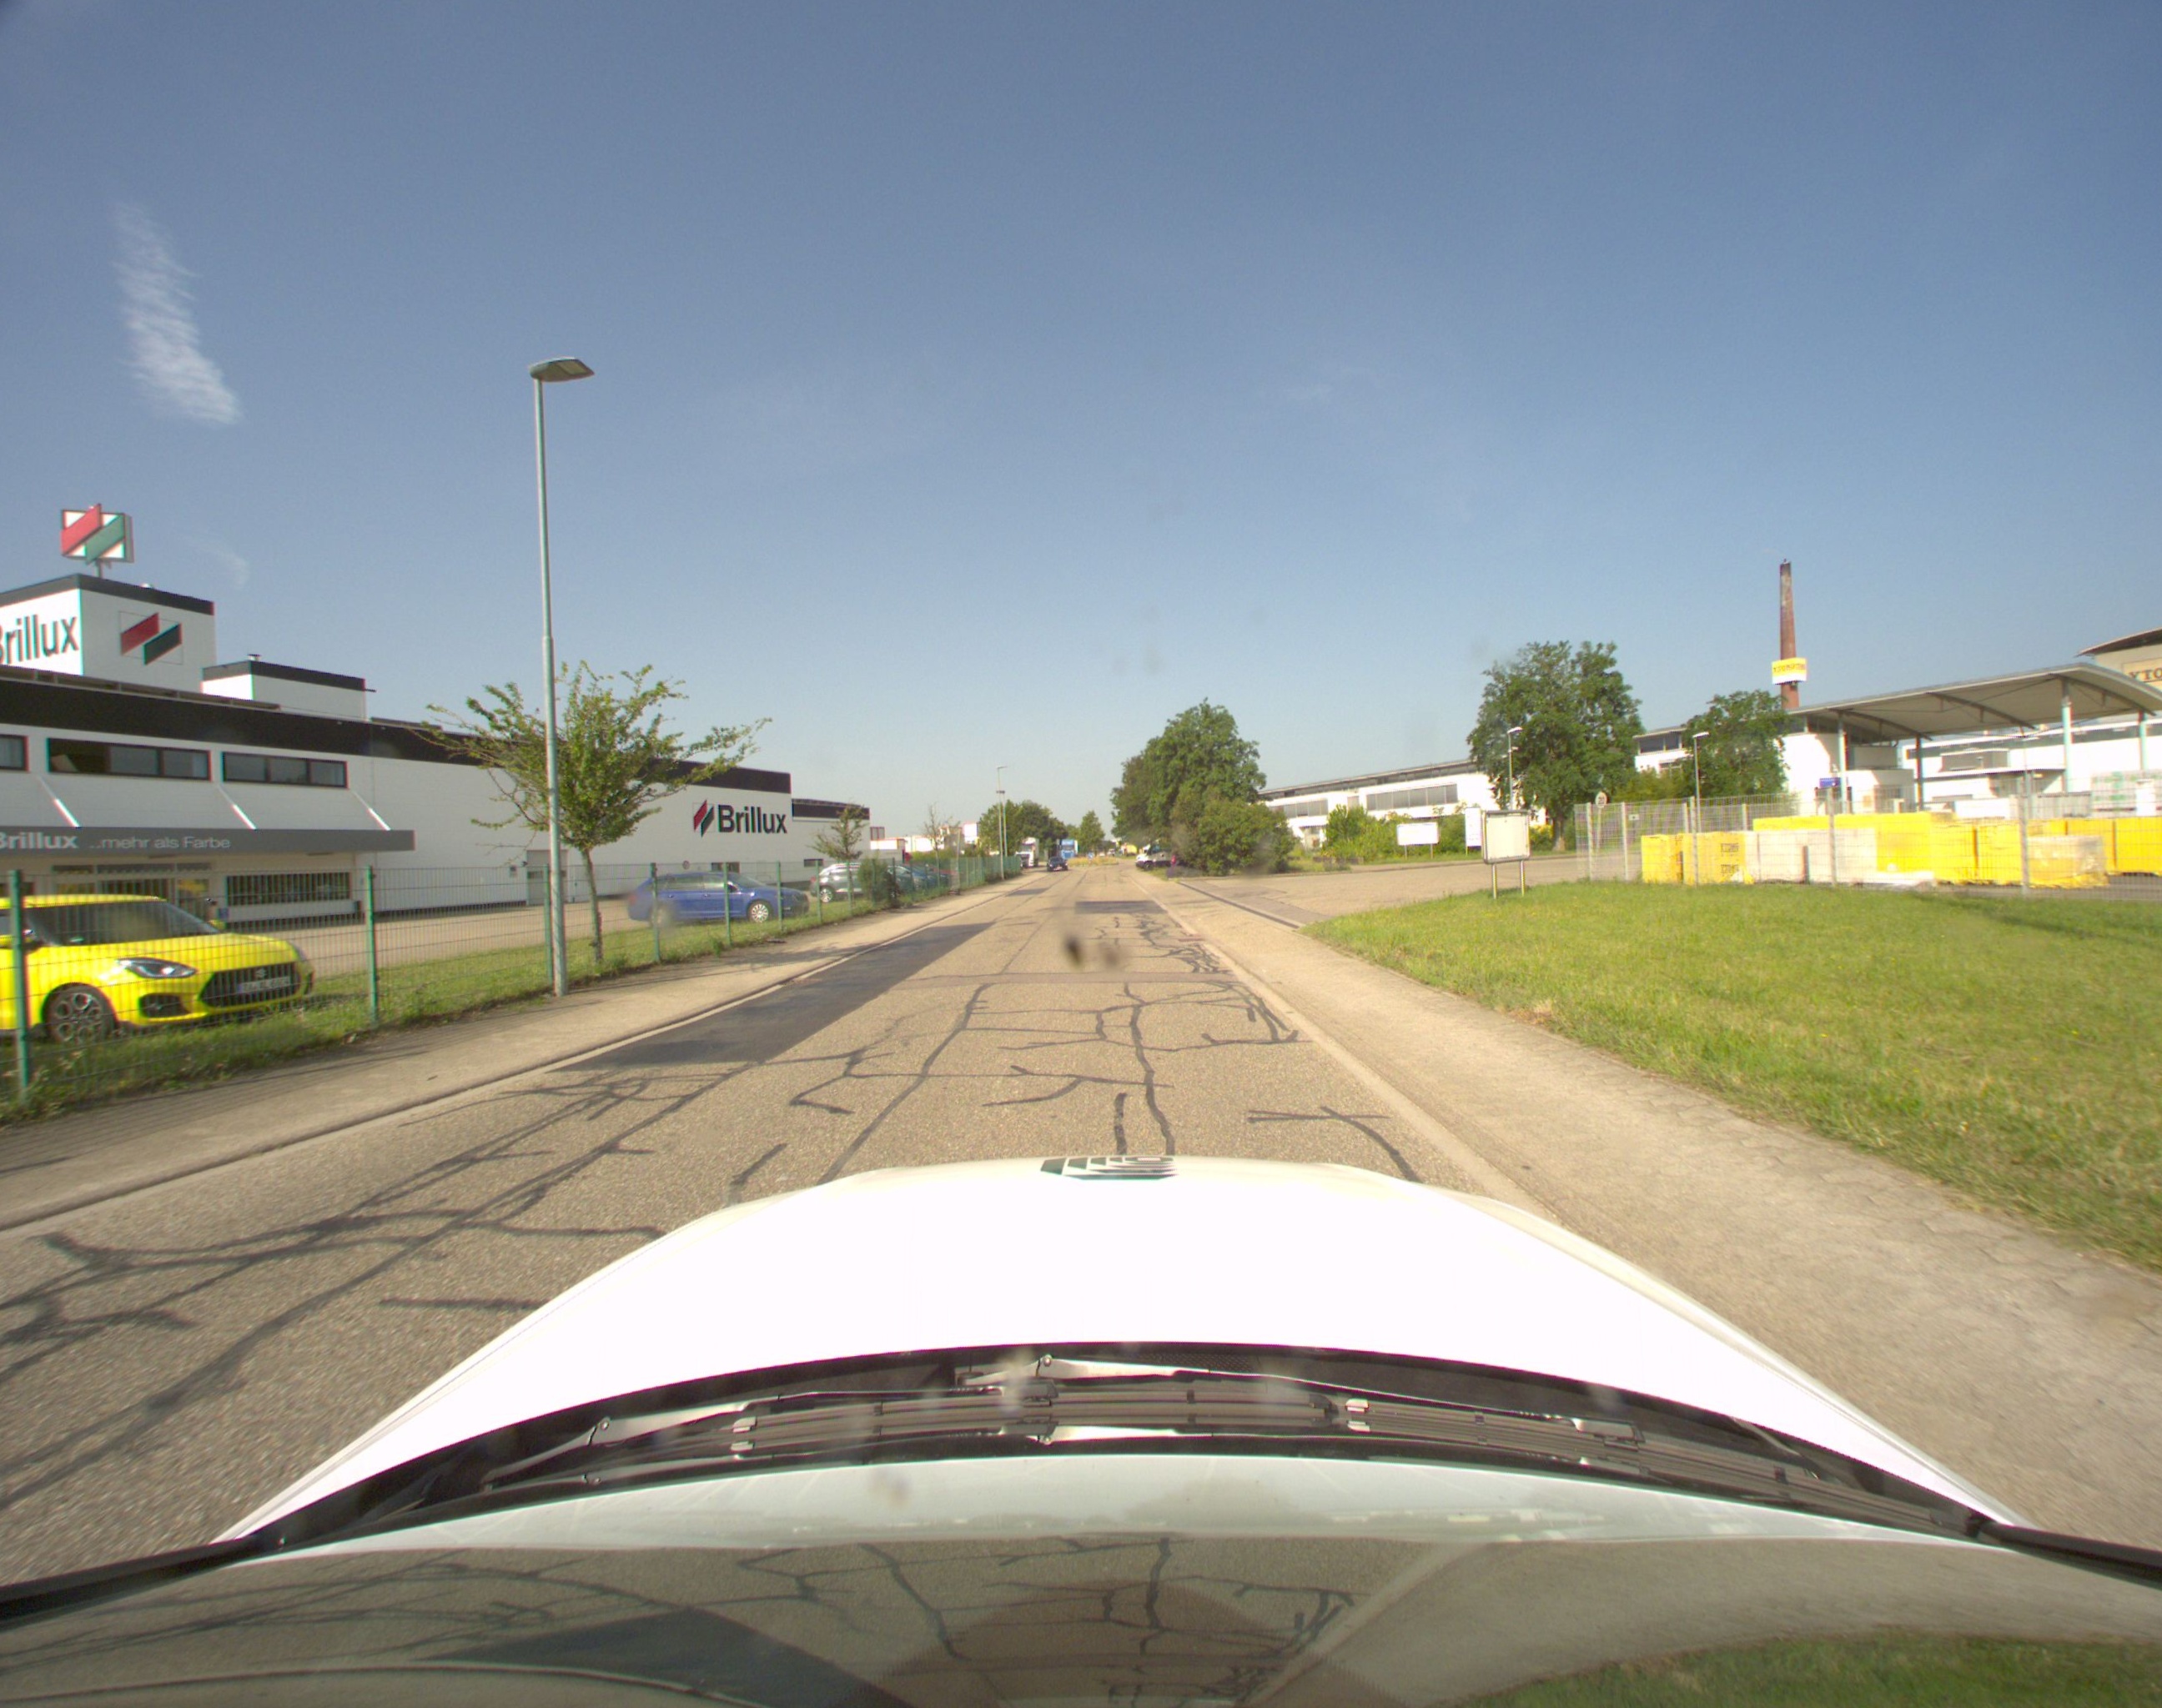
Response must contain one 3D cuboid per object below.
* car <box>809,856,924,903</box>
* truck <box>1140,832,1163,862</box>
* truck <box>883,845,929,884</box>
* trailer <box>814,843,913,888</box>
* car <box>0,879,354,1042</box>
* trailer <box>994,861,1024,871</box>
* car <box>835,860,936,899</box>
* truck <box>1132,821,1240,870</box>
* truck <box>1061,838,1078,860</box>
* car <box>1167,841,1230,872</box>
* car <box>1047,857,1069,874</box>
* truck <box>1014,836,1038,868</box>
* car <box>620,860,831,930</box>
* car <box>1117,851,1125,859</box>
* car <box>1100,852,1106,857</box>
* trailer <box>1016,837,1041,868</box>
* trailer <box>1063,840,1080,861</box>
[{"bbox_3d":[-8.775,1.038,33.588,4.113,1.567,1.865,-4,0,0],"label":"car"},{"bbox_3d":[10.250,-1.026,118.792,2.736,3.981,4.001,-5,0,1],"label":"truck"},{"bbox_3d":[-19.085,1.143,88.999,2.493,4.071,5.567,-1,-1,16],"label":"truck"},{"bbox_3d":[-21.372,1.143,81.387,2.462,4.042,13.950,-1,-1,17],"label":"trailer"},{"bbox_3d":[-10.471,1.078,8.457,4.148,1.368,1.869,-3,0,2],"label":"car"},{"bbox_3d":[-7.501,1.261,85.888,2.538,0.925,6.709,1,0,0],"label":"trailer"},{"bbox_3d":[-8.917,1.152,37.400,4.027,1.444,1.874,-4,0,0],"label":"car"},{"bbox_3d":[8.344,-0.639,65.526,8.182,3.370,2.741,-3,-1,0],"label":"truck"},{"bbox_3d":[-2.016,-0.811,149.869,2.815,3.826,9.674,-1,-1,1],"label":"truck"},{"bbox_3d":[7.884,0.193,54.882,3.971,1.838,2.001,-3,0,2],"label":"car"},{"bbox_3d":[-2.242,1.157,80.156,1.987,1.449,4.419,-5,0,0],"label":"car"},{"bbox_3d":[-7.092,-0.227,105.536,2.699,3.922,4.297,-1,-1,1],"label":"truck"},{"bbox_3d":[-9.490,1.060,22.023,4.670,1.444,2.078,-4,0,0],"label":"car"},{"bbox_3d":[9.308,0.191,190.377,1.786,1.750,4.000,-1,-1,1],"label":"car"},{"bbox_3d":[6.878,0.189,249.784,1.713,1.661,3.822,-1,-1,0],"label":"car"},{"bbox_3d":[-7.028,-0.147,109.954,2.690,3.922,7.575,-1,-1,1],"label":"trailer"},{"bbox_3d":[-1.828,-0.606,159.513,2.821,3.843,12.038,-1,-1,1],"label":"trailer"}]
